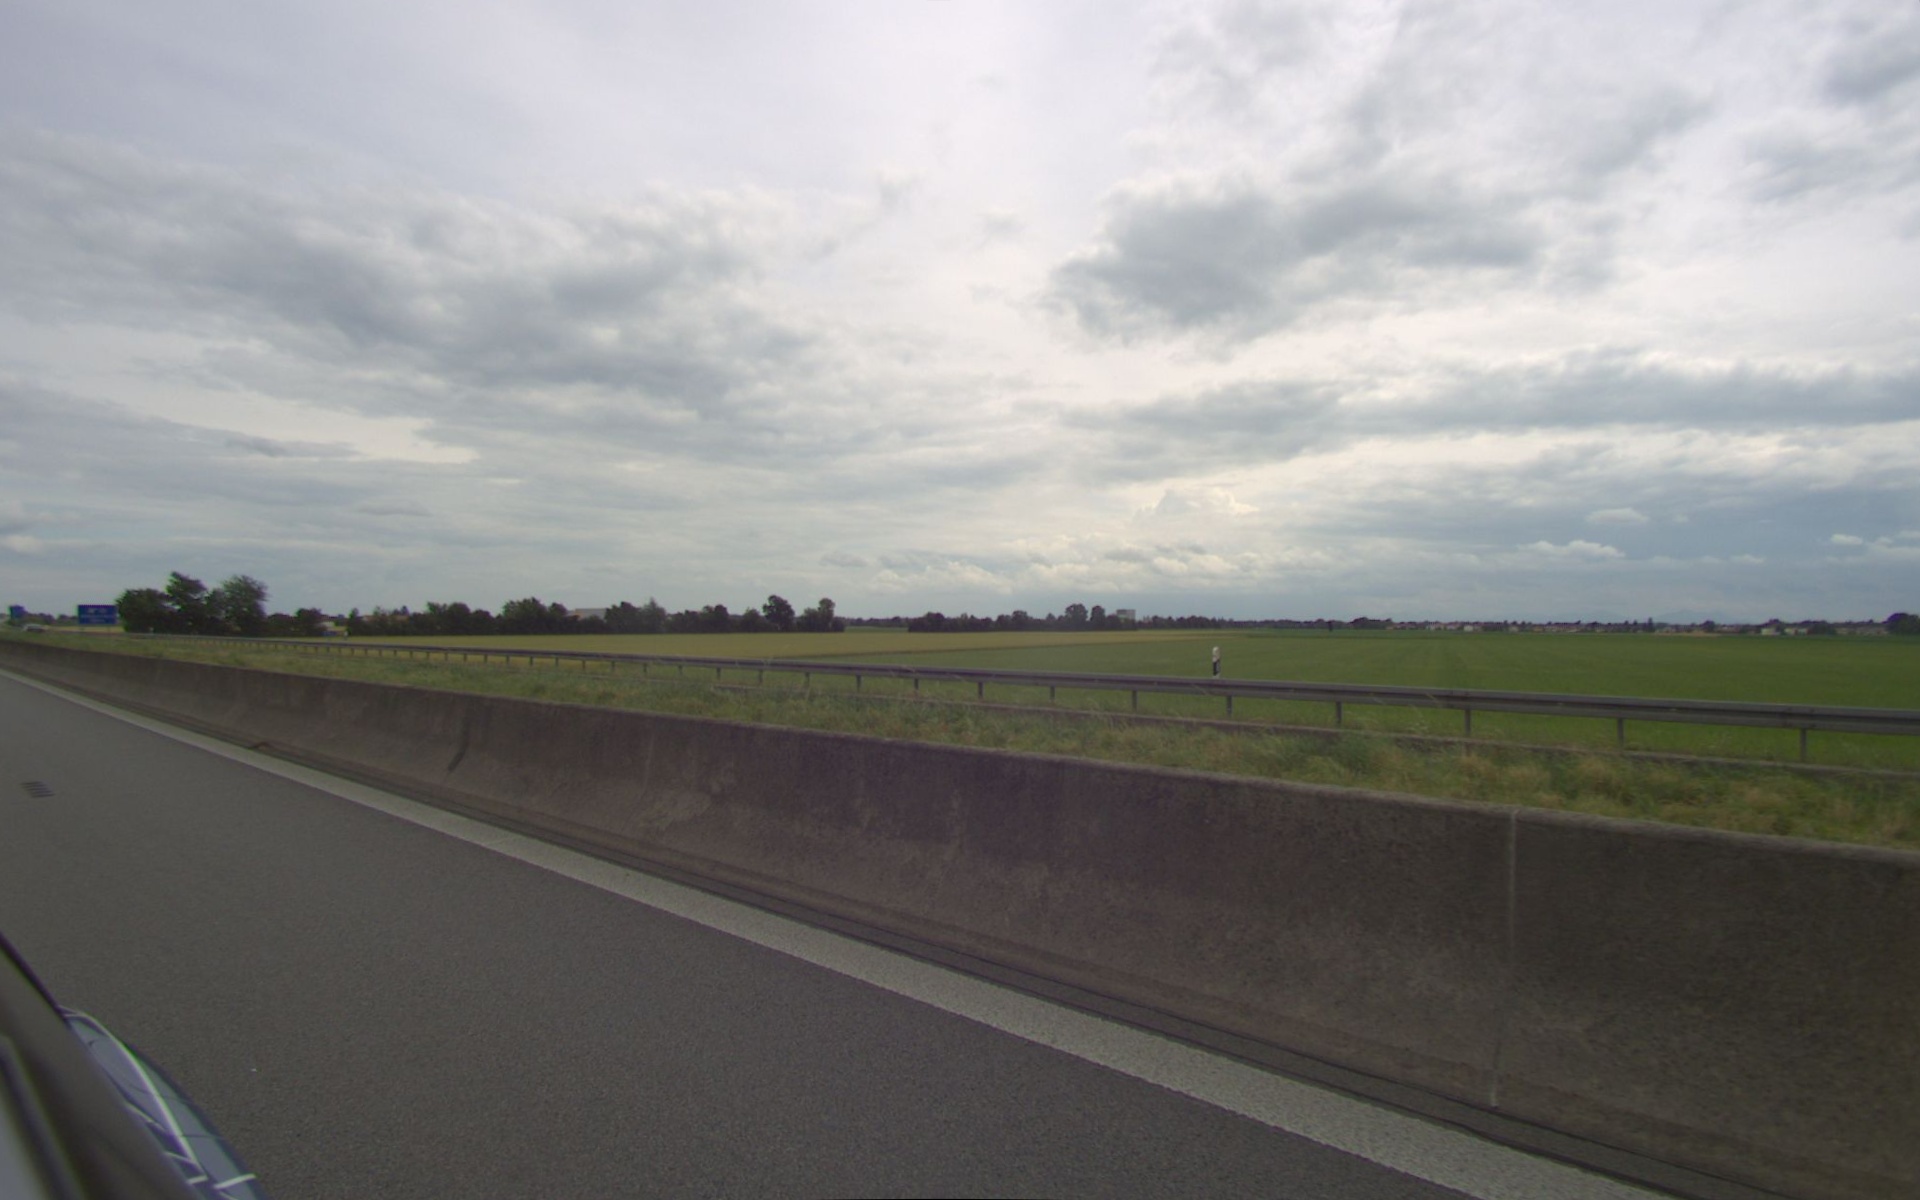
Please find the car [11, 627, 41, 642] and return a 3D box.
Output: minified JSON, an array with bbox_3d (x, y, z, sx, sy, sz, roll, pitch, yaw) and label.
[{"bbox_3d":[-97.309,3.558,105.410,4.903,1.483,1.770,-2,-4,42],"label":"car"}]
